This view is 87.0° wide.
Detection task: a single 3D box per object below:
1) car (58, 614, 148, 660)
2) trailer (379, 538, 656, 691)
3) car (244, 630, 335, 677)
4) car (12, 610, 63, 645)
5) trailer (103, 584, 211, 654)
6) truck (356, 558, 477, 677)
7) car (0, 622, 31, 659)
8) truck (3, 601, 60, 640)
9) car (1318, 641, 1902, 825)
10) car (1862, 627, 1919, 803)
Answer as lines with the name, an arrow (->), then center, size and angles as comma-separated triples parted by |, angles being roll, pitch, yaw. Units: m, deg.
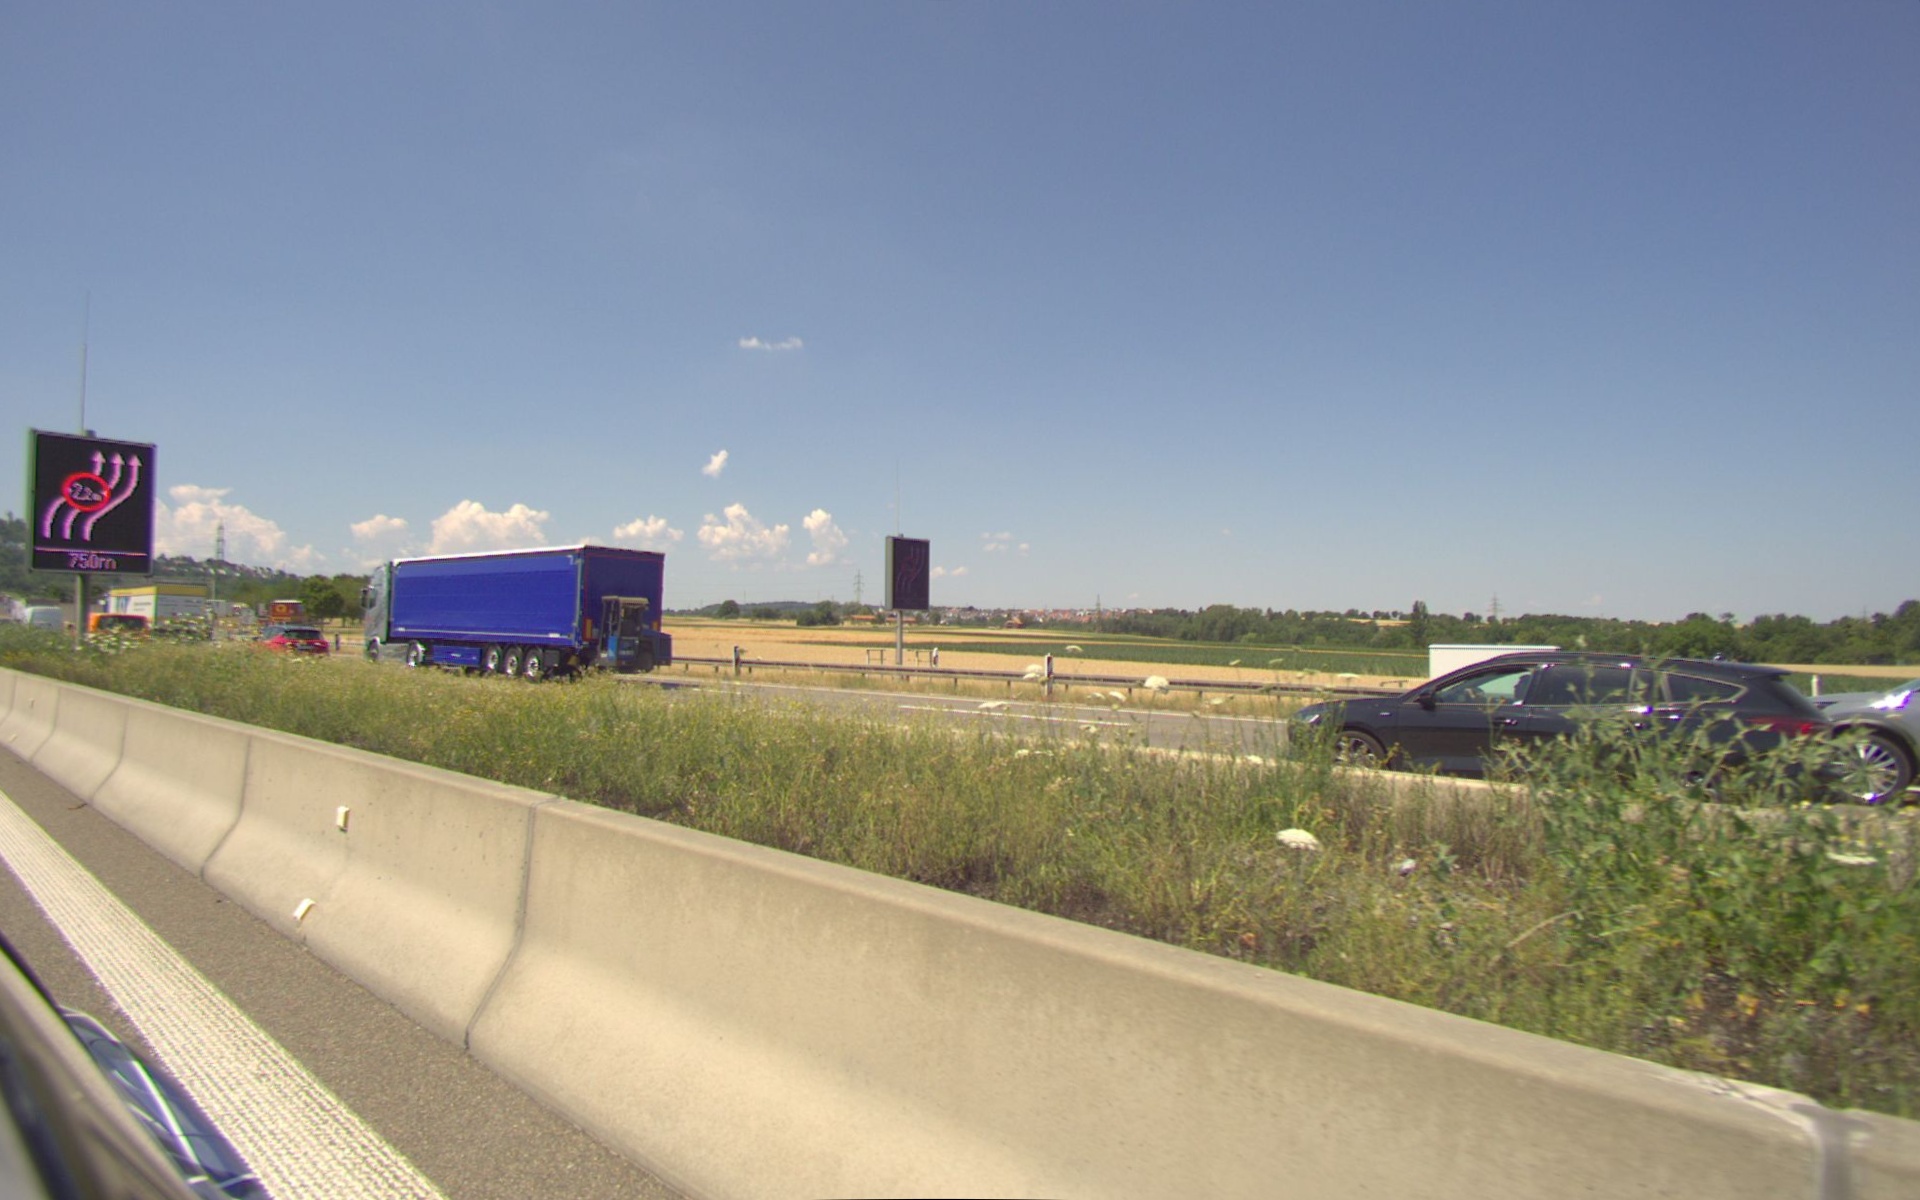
car -> -32.752, 1.368, 38.628 | 4.934, 1.590, 1.875 | 0, 0, 41
trailer -> -14.808, 0.546, 32.705 | 14.089, 4.118, 2.361 | -1, -3, 41
car -> -23.318, 1.810, 35.133 | 4.227, 1.519, 1.571 | -1, -3, 42
car -> -67.791, 2.046, 74.373 | 5.808, 2.520, 2.025 | -1, -3, 41
trailer -> -52.181, 1.312, 65.521 | 14.121, 4.160, 2.780 | -1, -3, 41
truck -> -20.112, 0.680, 37.376 | 4.657, 4.118, 2.386 | -1, -3, 41
car -> -53.901, 2.263, 56.923 | 4.684, 2.029, 1.972 | -2, -2, 42
truck -> -94.885, 2.091, 103.342 | 13.284, 3.637, 2.765 | -1, -4, 42
car -> 5.808, 1.081, 9.509 | 4.275, 1.334, 1.814 | -2, -4, 39
car -> 11.338, 1.151, 9.592 | 4.078, 1.732, 1.813 | -1, -4, 41
